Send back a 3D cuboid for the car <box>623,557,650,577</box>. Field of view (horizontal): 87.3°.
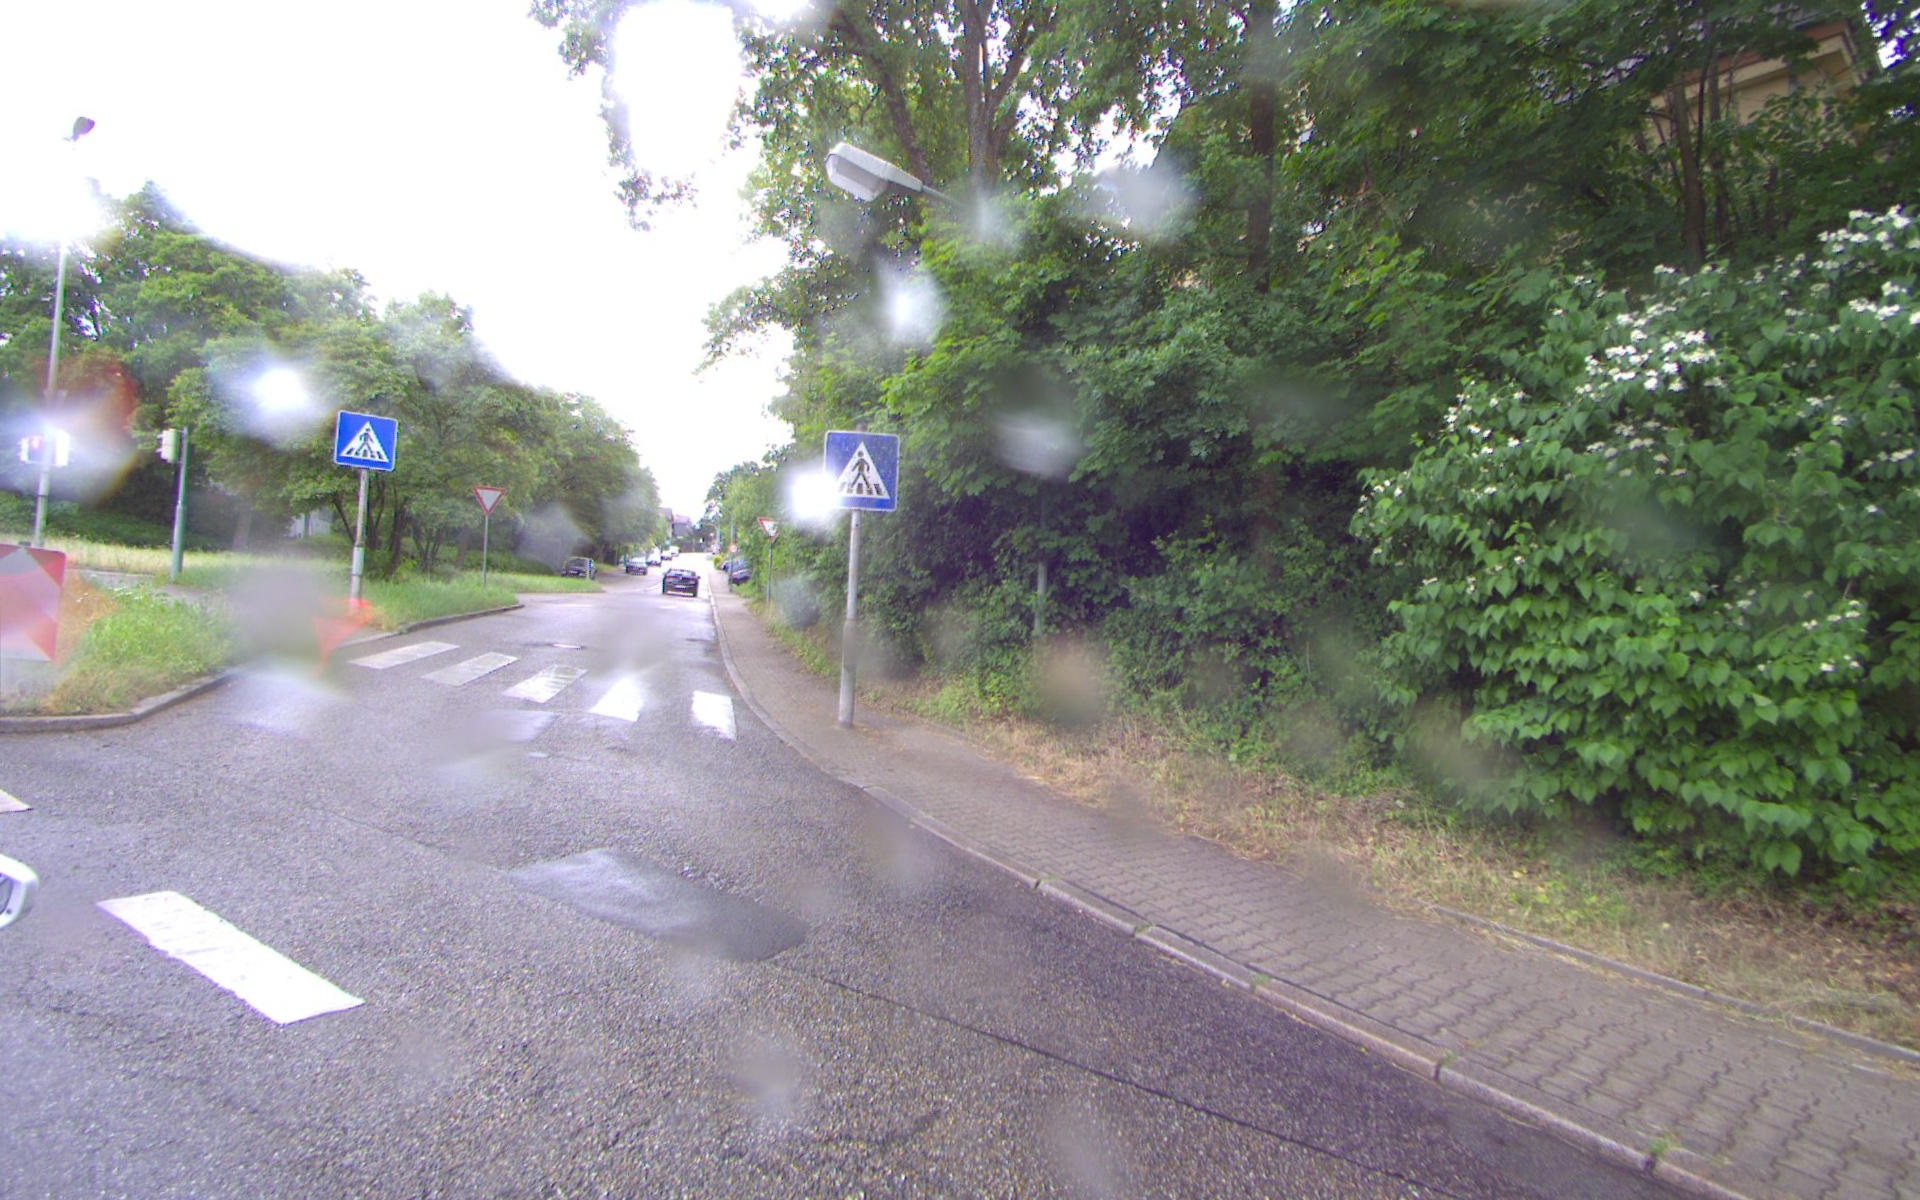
[{"bbox_3d":[-30.111,-3.028,93.737,1.874,1.467,4.285,7,-2,-13],"label":"car"}]

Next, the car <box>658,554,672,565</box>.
[{"bbox_3d":[-46.777,-6.454,159.517,1.877,1.413,4.151,7,-2,-20],"label":"car"}]

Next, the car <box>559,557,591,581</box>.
[{"bbox_3d":[-25.895,-2.087,67.741,1.651,1.387,3.477,6,0,-16],"label":"car"}]

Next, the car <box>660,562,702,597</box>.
[{"bbox_3d":[-14.326,-1.073,51.841,1.789,1.461,4.148,6,1,-14],"label":"car"}]

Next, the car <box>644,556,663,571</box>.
[{"bbox_3d":[-37.714,-4.434,123.652,1.968,1.463,4.278,7,-2,-19],"label":"car"}]

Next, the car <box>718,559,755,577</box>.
[{"bbox_3d":[-25.776,-3.696,116.098,3.939,1.594,1.766,5,1,-18],"label":"car"}]
